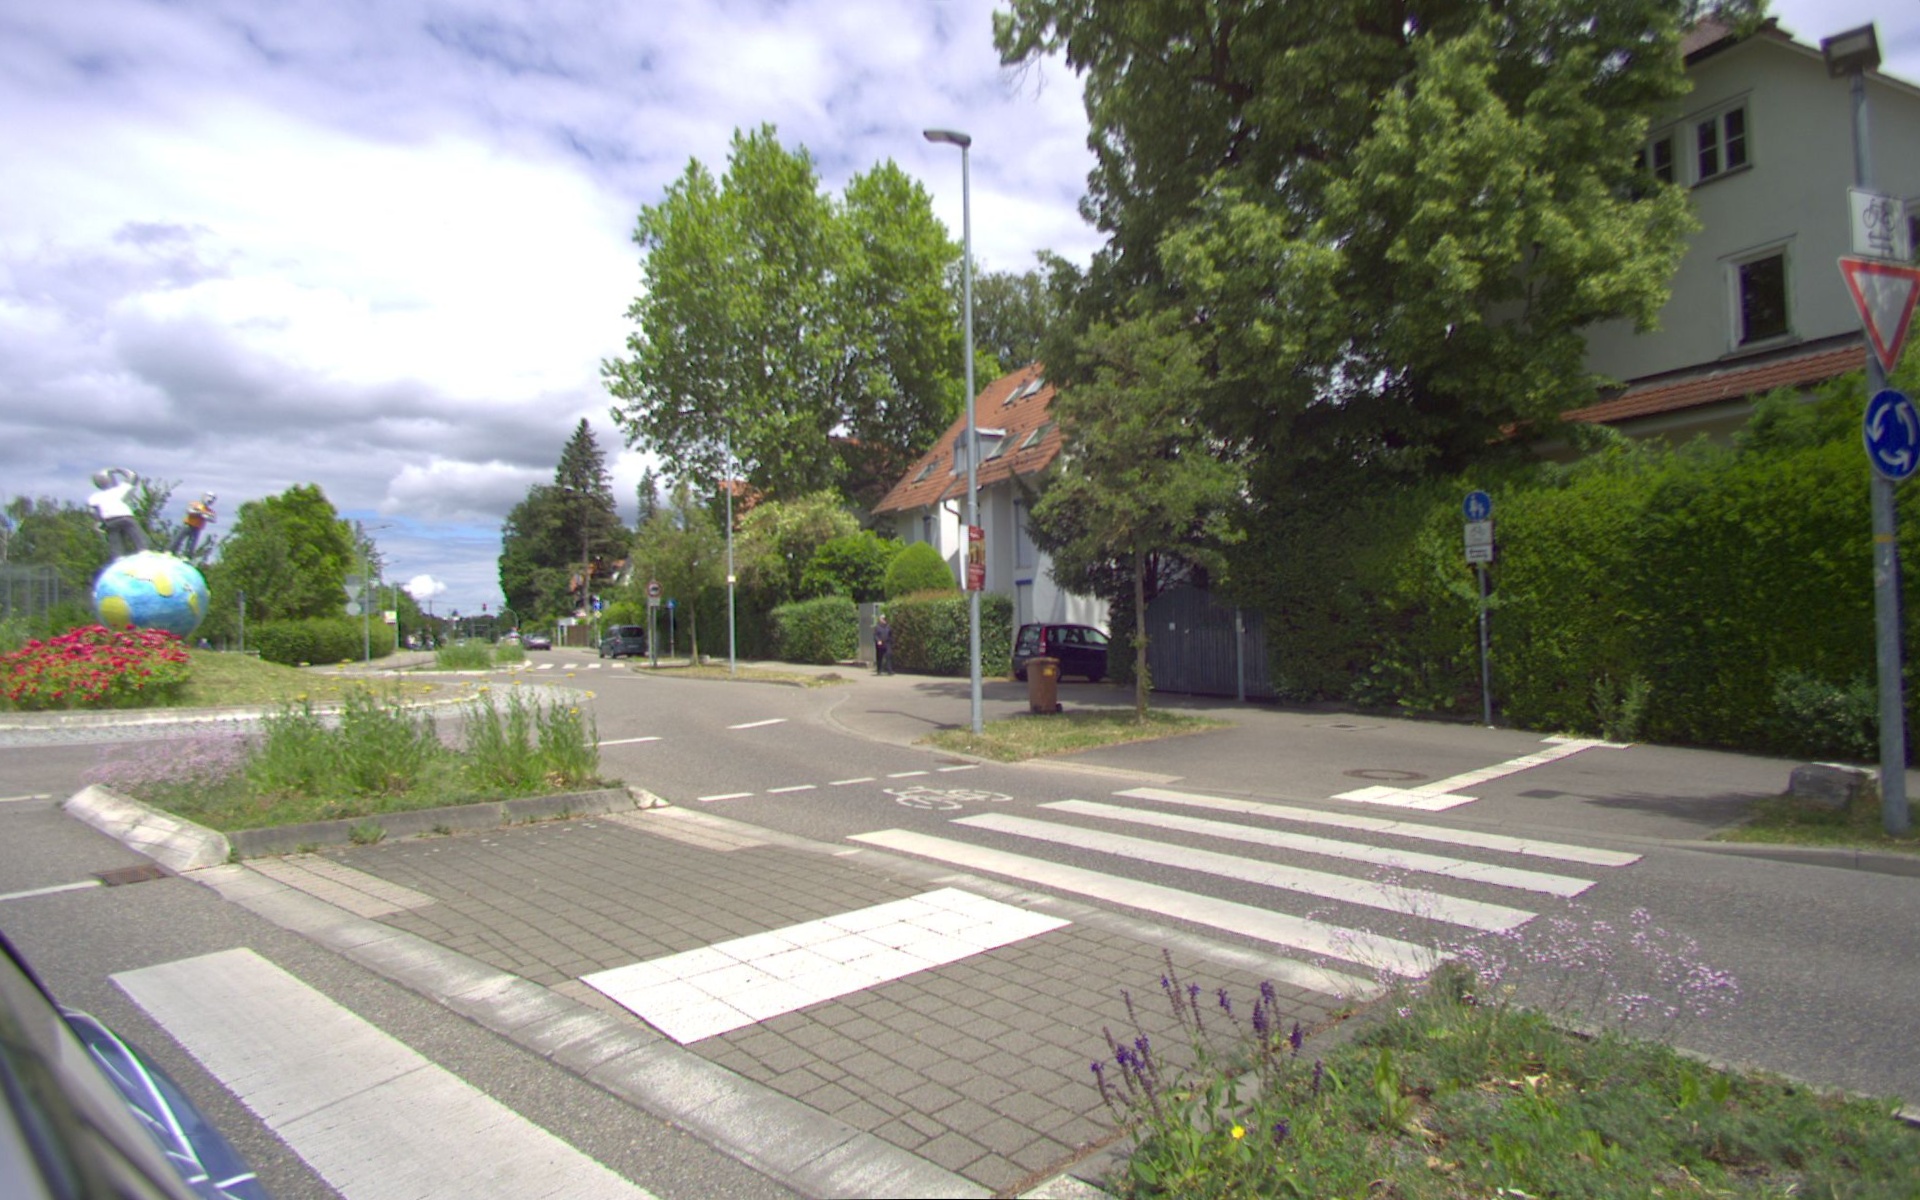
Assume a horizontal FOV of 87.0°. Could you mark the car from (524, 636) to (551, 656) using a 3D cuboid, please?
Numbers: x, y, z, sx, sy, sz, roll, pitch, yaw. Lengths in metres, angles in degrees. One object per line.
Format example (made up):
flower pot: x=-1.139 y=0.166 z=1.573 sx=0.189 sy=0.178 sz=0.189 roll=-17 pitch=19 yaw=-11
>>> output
car: x=-36.736 y=3.942 z=88.014 sx=1.831 sy=1.589 sz=4.013 roll=-1 pitch=-1 yaw=-27

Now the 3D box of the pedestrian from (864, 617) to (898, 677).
pedestrian: x=-2.290 y=1.359 z=29.355 sx=0.733 sy=1.704 sz=0.697 roll=-1 pitch=-1 yaw=-26

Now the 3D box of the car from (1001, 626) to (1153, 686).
car: x=3.001 y=1.436 z=25.978 sx=3.517 sy=1.408 sz=1.671 roll=3 pitch=-3 yaw=-27

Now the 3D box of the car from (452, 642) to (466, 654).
car: x=-78.762 y=7.542 z=159.002 sx=1.965 sy=1.719 sz=4.013 roll=1 pitch=-2 yaw=-27

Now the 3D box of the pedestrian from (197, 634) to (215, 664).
pedestrian: x=-39.945 y=2.595 z=53.623 sx=0.752 sy=1.569 sz=0.603 roll=1 pitch=-2 yaw=-35

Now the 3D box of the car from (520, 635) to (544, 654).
car: x=-39.340 y=4.090 z=92.989 sx=1.757 sy=1.589 sz=4.013 roll=-1 pitch=-1 yaw=-27

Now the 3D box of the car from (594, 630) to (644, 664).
car: x=-18.096 y=2.446 z=53.543 sx=1.653 sy=1.674 sz=4.011 roll=0 pitch=-2 yaw=-32

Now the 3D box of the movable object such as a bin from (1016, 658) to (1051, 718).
movable object such as a bin: x=1.194 y=1.422 z=16.448 sx=0.411 sy=0.942 sz=0.436 roll=-2 pitch=-2 yaw=34

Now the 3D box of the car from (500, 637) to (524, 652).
car: x=-51.205 y=5.063 z=115.653 sx=1.966 sy=1.719 sz=4.011 roll=1 pitch=-2 yaw=-32
